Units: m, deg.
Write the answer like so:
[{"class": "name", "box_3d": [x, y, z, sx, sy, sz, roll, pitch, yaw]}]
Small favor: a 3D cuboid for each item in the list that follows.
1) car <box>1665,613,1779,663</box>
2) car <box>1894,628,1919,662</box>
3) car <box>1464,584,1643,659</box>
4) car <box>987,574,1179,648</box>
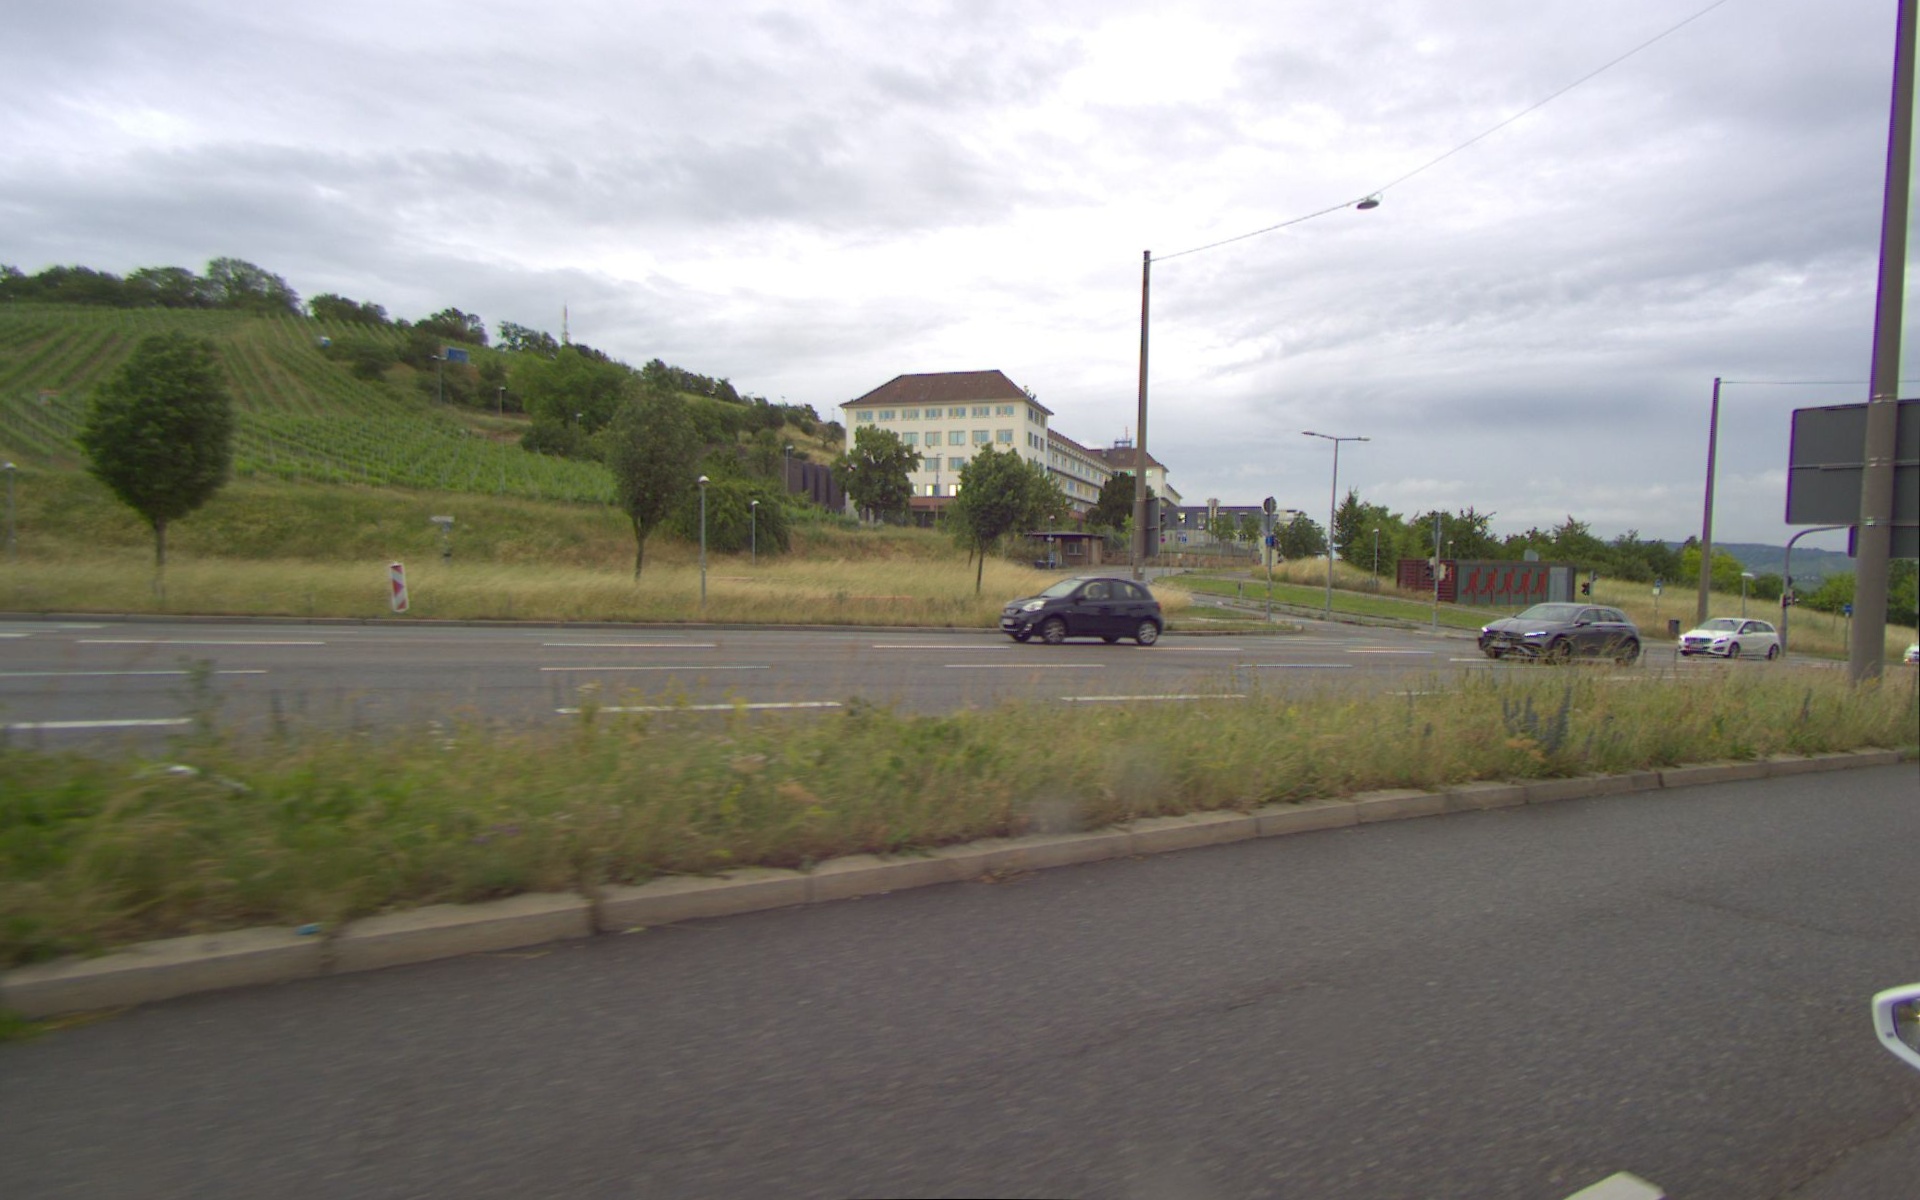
[{"class": "car", "box_3d": [29.583, 1.474, 38.975, 4.122, 1.670, 1.762, 4, 1, -25]}, {"class": "car", "box_3d": [45.050, 2.173, 46.260, 3.724, 1.482, 1.646, 4, 1, -25]}, {"class": "car", "box_3d": [14.418, 0.530, 24.396, 3.947, 1.538, 1.762, 3, 1, -25]}, {"class": "car", "box_3d": [2.790, 0.253, 22.752, 3.947, 1.402, 1.762, 4, 1, -25]}]
